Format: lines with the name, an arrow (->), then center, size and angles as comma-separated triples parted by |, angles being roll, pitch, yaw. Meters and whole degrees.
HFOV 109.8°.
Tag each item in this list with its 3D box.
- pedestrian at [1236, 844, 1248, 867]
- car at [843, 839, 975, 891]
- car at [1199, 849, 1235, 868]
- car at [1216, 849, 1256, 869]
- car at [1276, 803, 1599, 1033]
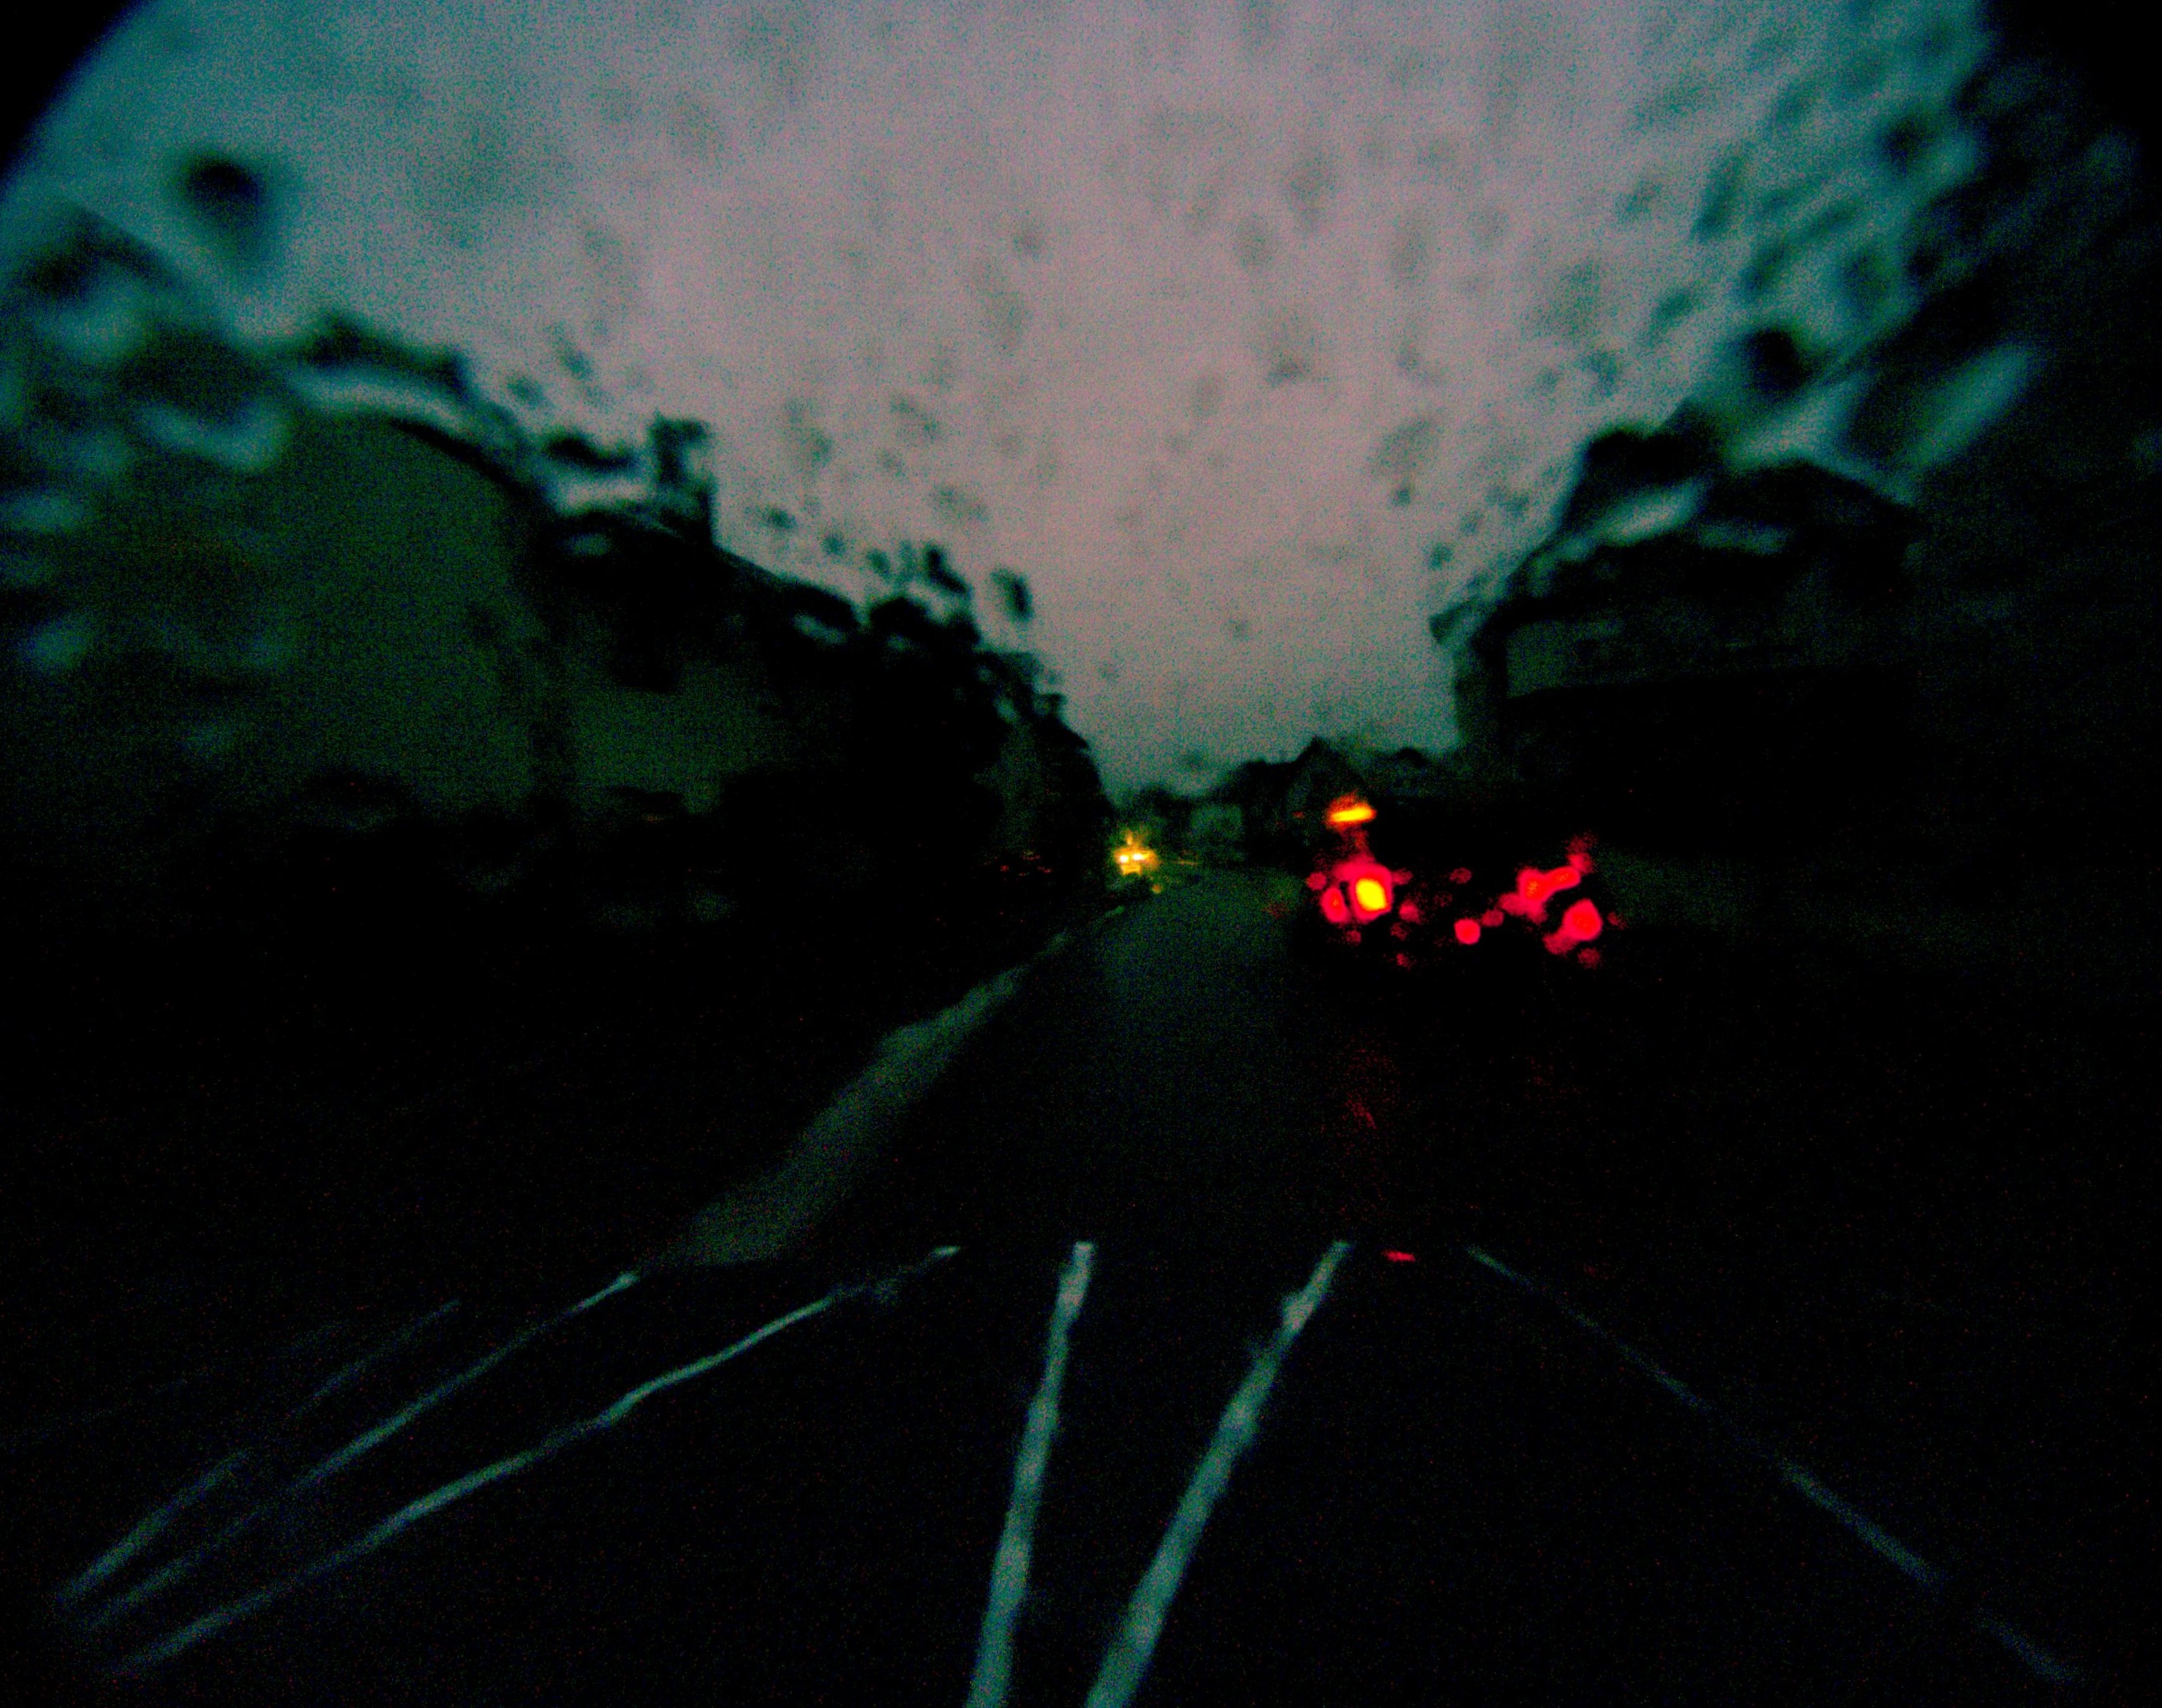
pedestrian -> 12.899, 0.103, 60.894 | 0.708, 1.769, 0.811 | -4, 2, -4
car -> -6.218, 0.390, 27.874 | 4.261, 1.639, 2.064 | 3, 1, 2
car -> 11.297, 0.389, 63.389 | 1.828, 1.432, 4.065 | -4, 0, -6
car -> 11.715, 0.384, 57.654 | 1.754, 1.380, 4.144 | -4, 0, -6
car -> 3.774, 0.561, 9.223 | 2.114, 2.015, 4.985 | -2, 1, 8
